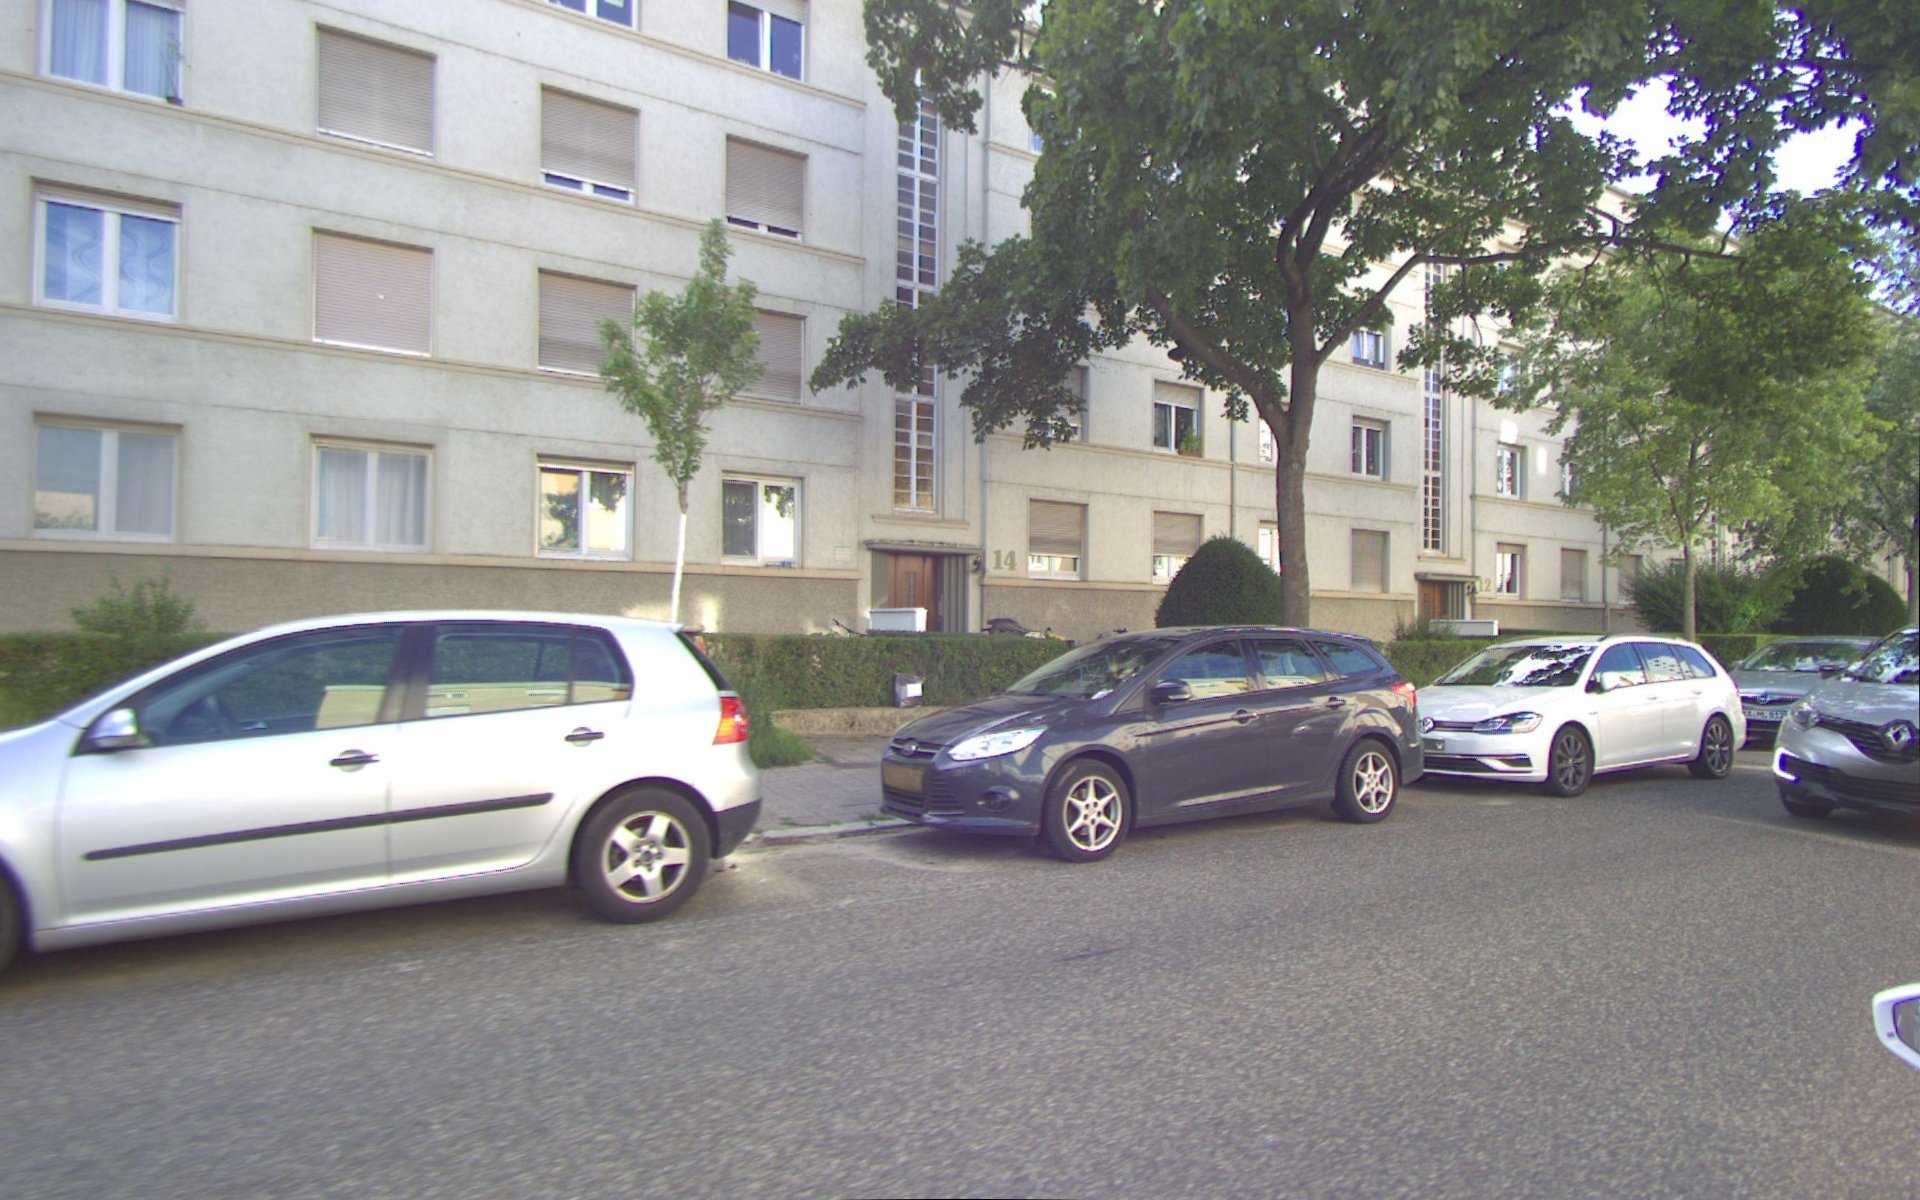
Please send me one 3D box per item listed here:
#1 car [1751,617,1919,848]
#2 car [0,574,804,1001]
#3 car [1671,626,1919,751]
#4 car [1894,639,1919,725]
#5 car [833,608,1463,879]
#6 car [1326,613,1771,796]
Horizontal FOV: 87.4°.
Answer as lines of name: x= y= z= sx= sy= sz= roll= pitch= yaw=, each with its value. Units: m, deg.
car: x=7.993 y=0.938 z=7.730 sx=3.964 sy=1.521 sz=1.731 roll=2 pitch=-2 yaw=-31
car: x=-3.103 y=0.722 z=4.791 sx=4.317 sy=1.505 sz=1.812 roll=2 pitch=-3 yaw=-30
car: x=12.101 y=1.144 z=14.093 sx=4.632 sy=1.505 sz=1.845 roll=2 pitch=-2 yaw=-32
car: x=18.050 y=1.388 z=17.259 sx=4.613 sy=1.411 sz=1.730 roll=2 pitch=-4 yaw=-31
car: x=1.544 y=0.870 z=7.589 sx=4.629 sy=1.505 sz=1.846 roll=2 pitch=-1 yaw=-31
car: x=6.121 y=0.980 z=10.306 sx=4.743 sy=1.505 sz=1.847 roll=2 pitch=-5 yaw=-31
